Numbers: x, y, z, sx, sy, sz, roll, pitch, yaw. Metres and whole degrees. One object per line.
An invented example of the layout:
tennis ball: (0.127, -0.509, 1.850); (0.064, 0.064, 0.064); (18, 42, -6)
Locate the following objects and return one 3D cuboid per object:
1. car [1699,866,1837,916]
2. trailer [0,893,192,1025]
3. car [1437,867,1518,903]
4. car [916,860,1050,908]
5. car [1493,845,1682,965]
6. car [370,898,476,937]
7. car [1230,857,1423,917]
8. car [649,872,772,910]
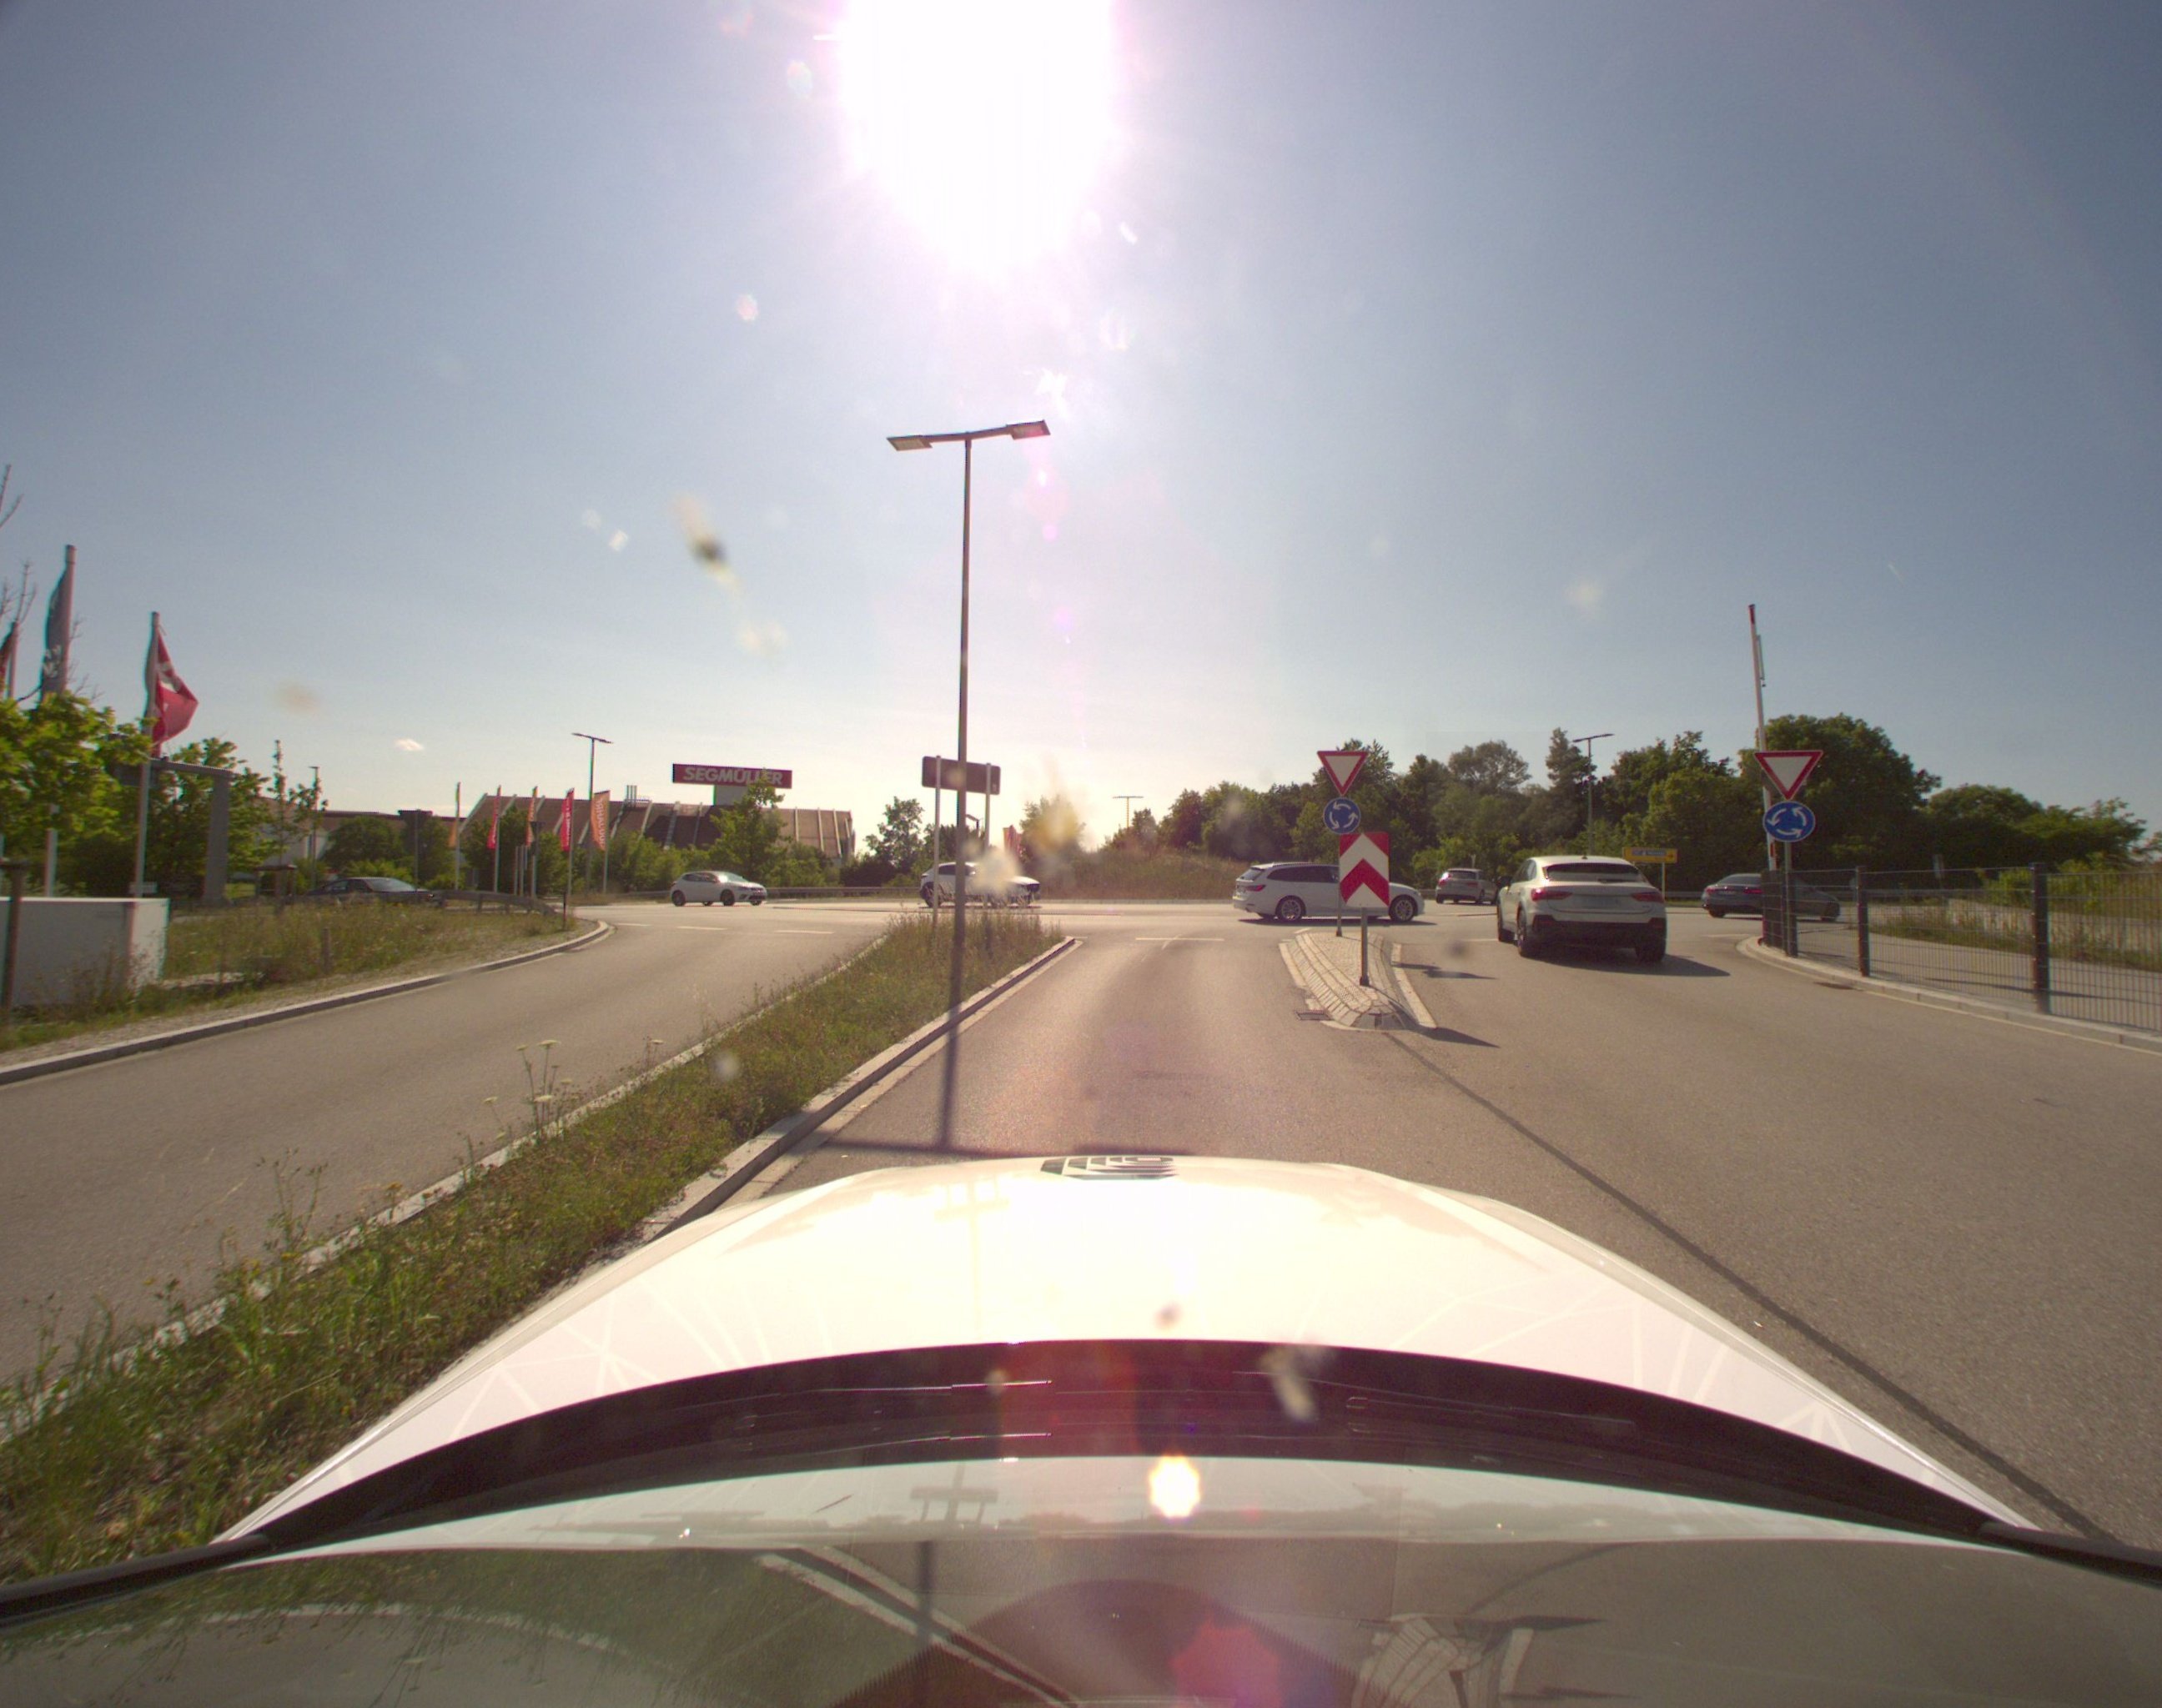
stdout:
car: (21.696, 1.139, 25.674); (4.890, 1.452, 1.980); (2, -1, -32)
trailer: (-16.100, 1.498, 11.946); (3.710, 1.772, 1.789); (4, -2, -34)
car: (15.740, 1.217, 32.286); (3.788, 1.352, 1.513); (2, -1, -41)
car: (-3.353, 0.988, 27.876); (4.234, 1.530, 1.802); (0, -2, 27)
car: (7.925, 0.714, 13.183); (1.825, 1.596, 4.347); (0, -1, 21)
car: (-24.155, 2.302, 29.887); (3.816, 1.182, 1.687); (0, -1, 29)
car: (5.992, 0.807, 20.160); (4.317, 1.352, 1.571); (1, -1, -3)
car: (-15.029, 1.467, 33.110); (4.369, 1.405, 1.799); (1, -1, 15)
